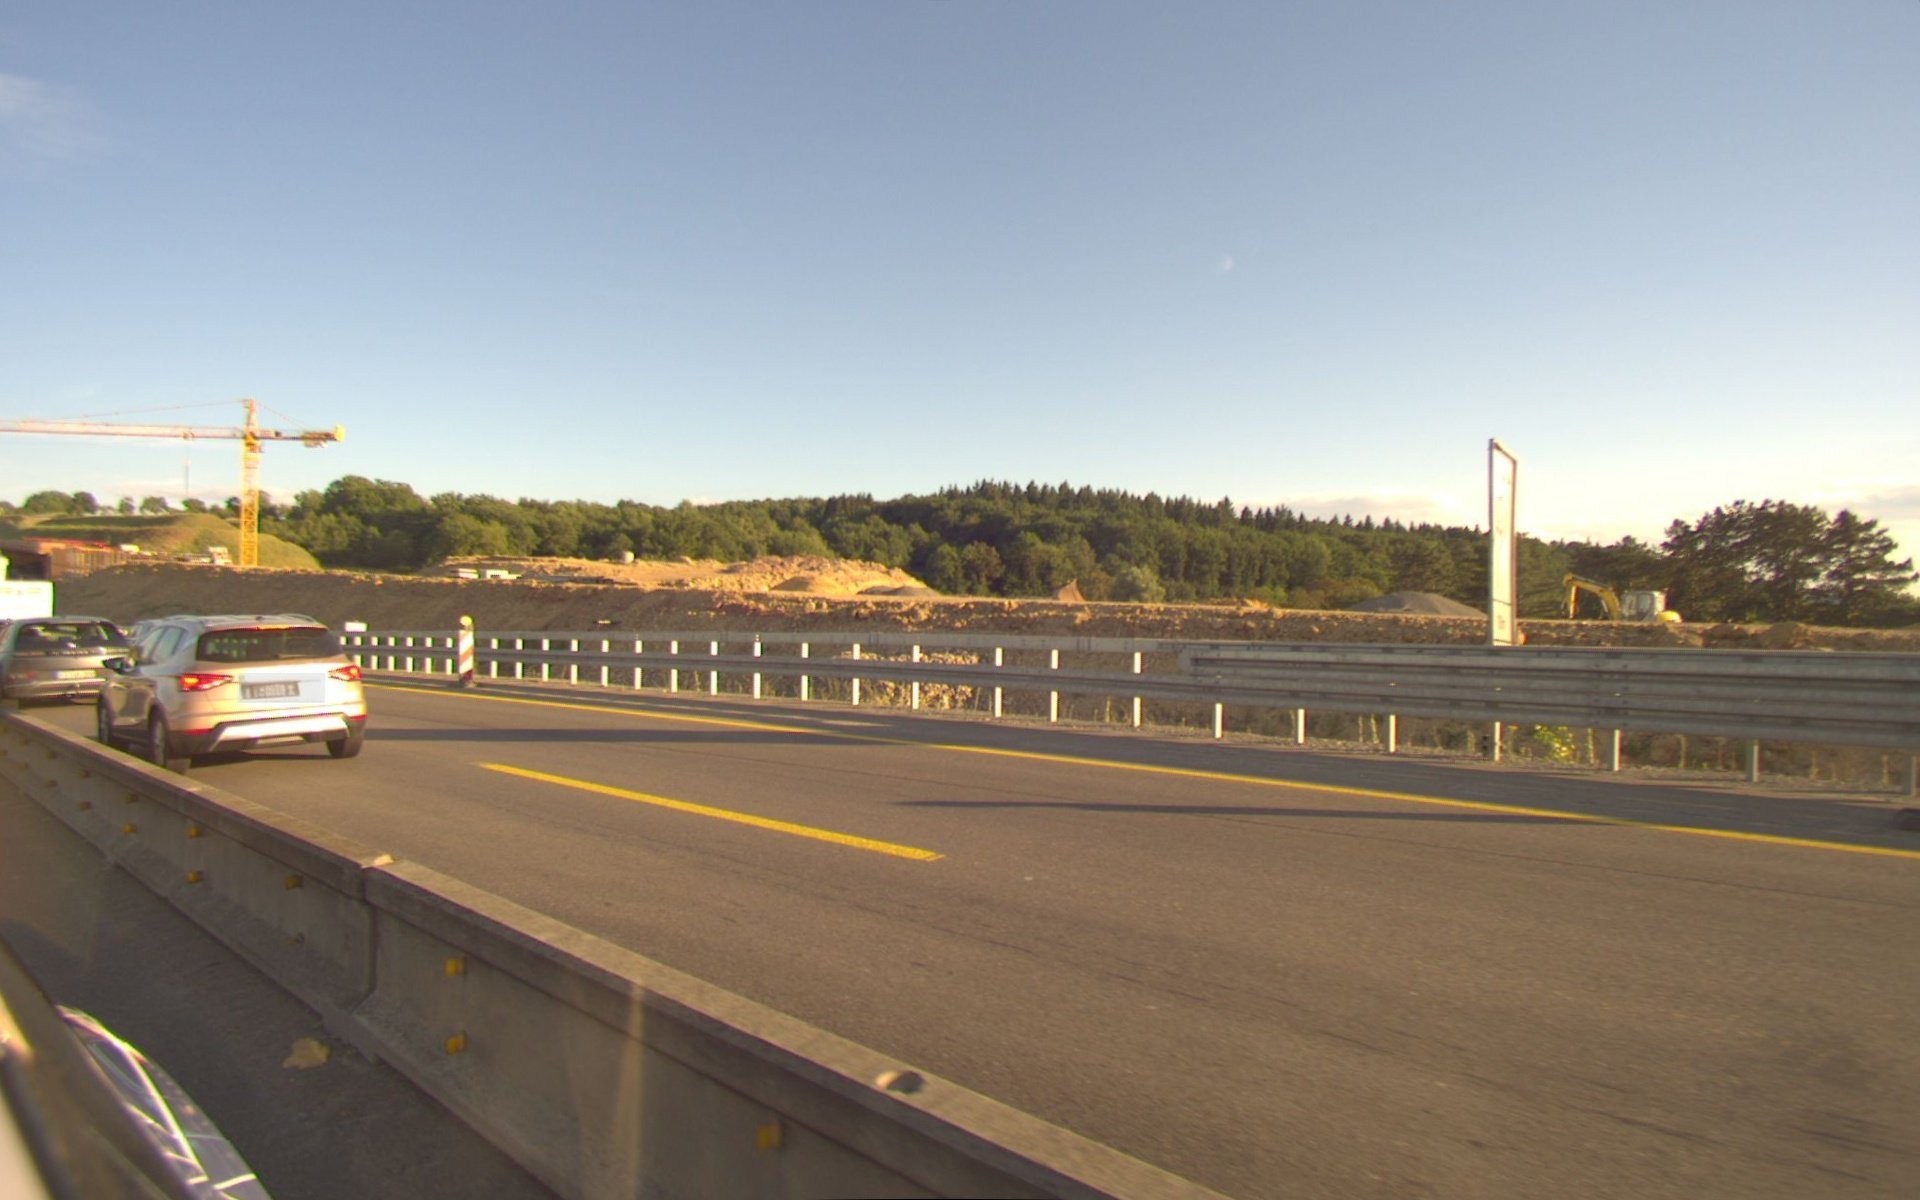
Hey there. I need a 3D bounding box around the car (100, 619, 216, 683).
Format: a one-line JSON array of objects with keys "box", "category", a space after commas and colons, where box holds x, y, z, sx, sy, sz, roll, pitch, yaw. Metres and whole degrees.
[{"box": [-21.955, 1.334, 27.649, 4.290, 1.580, 1.674, -1, -1, 40], "category": "car"}]

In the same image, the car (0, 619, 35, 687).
[{"box": [-25.364, 1.346, 25.965, 4.526, 1.652, 1.809, -1, -1, 40], "category": "car"}]

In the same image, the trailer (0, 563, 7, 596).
[{"box": [-129.896, -2.878, 135.952, 2.502, 4.245, 13.945, -1, 3, -44], "category": "trailer"}]

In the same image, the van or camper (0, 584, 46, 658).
[{"box": [-48.446, 1.060, 51.196, 7.409, 3.525, 2.432, -1, -1, 41], "category": "van or camper"}]

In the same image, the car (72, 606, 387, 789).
[{"box": [-7.808, 0.851, 10.685, 3.996, 1.546, 1.749, 0, 0, 40], "category": "car"}]

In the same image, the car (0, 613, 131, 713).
[{"box": [-16.737, 1.053, 18.500, 4.703, 1.596, 1.725, -1, -1, 41], "category": "car"}]
